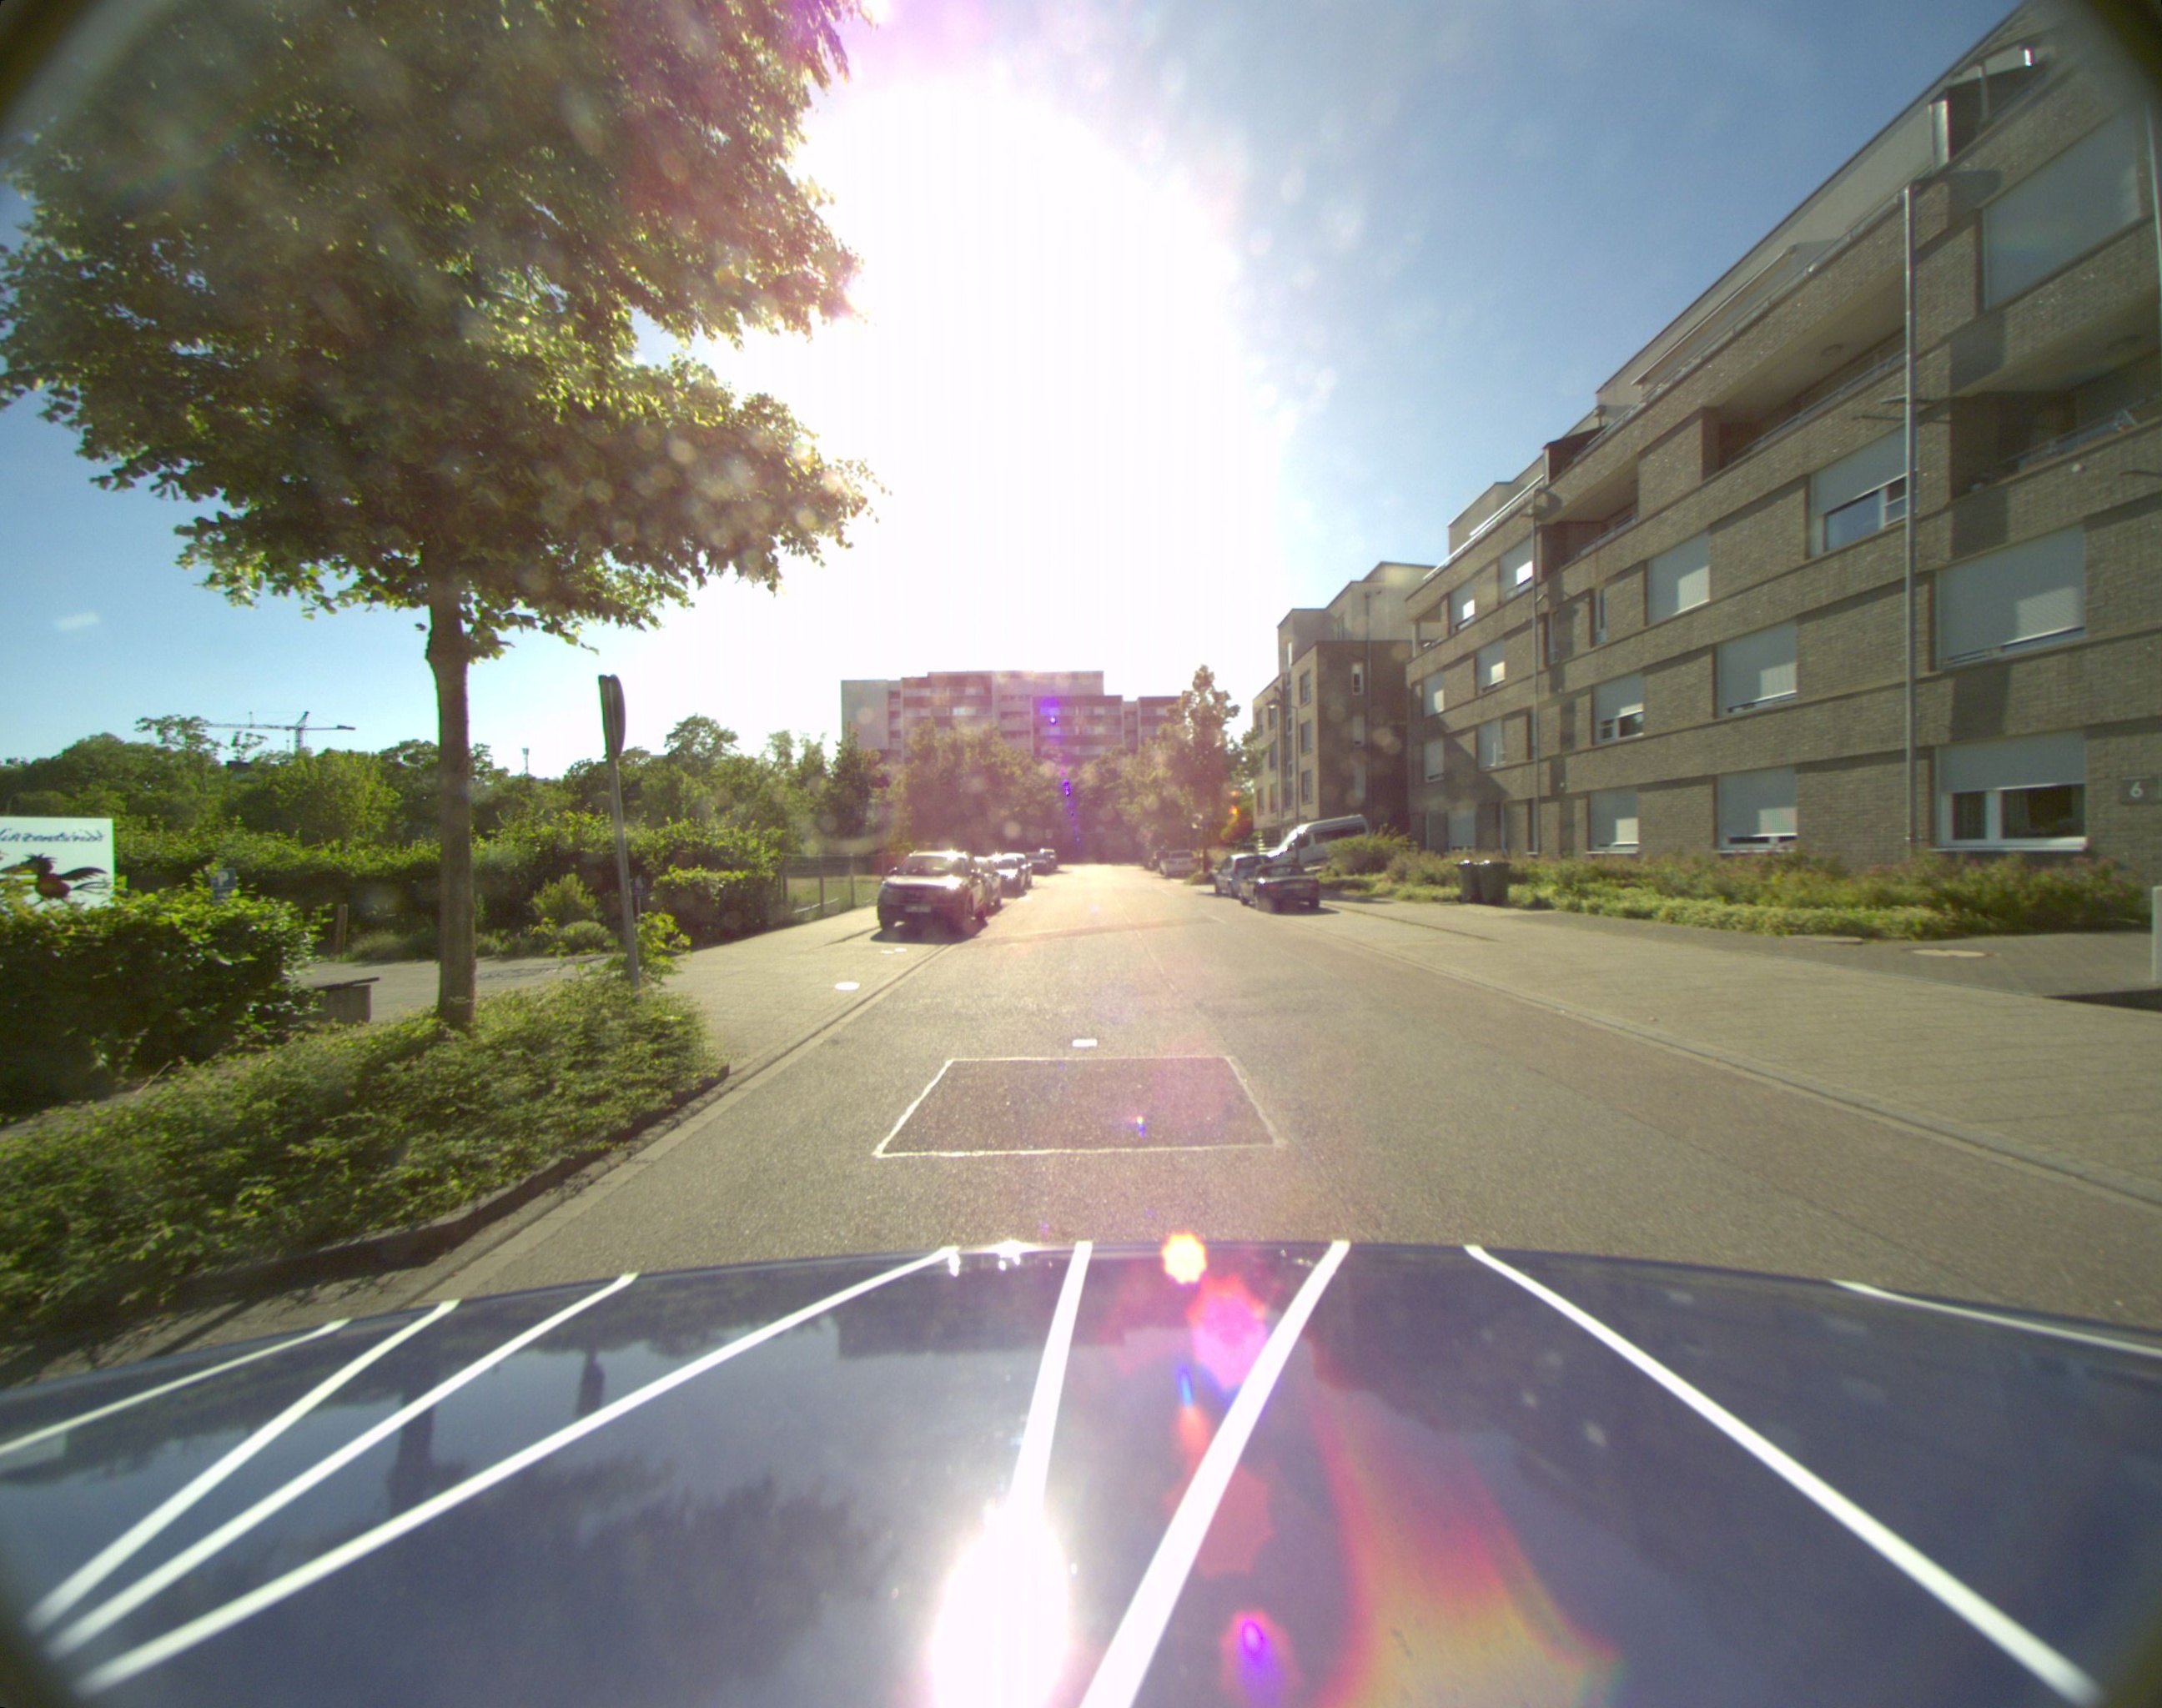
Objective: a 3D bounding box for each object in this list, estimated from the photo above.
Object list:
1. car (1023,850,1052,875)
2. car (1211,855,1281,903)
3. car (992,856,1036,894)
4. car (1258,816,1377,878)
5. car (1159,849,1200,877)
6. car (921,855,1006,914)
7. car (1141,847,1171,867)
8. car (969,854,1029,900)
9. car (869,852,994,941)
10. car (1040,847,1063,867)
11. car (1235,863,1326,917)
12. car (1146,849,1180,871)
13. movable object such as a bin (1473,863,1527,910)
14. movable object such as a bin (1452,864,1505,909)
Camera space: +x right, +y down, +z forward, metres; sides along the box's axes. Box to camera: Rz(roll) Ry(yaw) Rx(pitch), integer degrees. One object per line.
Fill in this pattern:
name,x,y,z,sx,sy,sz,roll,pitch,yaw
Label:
car,-2.839,0.538,50.624,1.645,1.458,3.702,2,2,0
car,5.652,0.804,26.344,1.631,1.515,3.562,-1,0,0
car,-3.019,0.930,34.895,1.645,1.458,3.702,2,2,0
car,11.493,-0.346,37.172,5.153,2.885,2.013,-1,1,-3
car,5.940,0.497,46.179,1.795,1.590,3.889,-2,0,-2
car,-3.300,0.809,22.036,1.823,1.458,3.842,2,0,0
car,5.913,0.232,60.281,1.795,1.509,3.889,-2,0,-2
car,-3.075,0.832,29.212,1.823,1.458,3.841,2,2,0
car,-3.149,0.823,16.923,1.823,1.638,4.488,2,0,0
car,-2.421,0.197,62.806,1.645,1.458,3.702,2,2,0
car,5.422,0.935,21.036,1.631,1.240,3.562,-2,0,1
car,5.894,0.398,54.996,1.795,1.509,3.889,-2,0,-2
movable object such as a bin,10.082,0.774,18.307,0.862,1.031,0.677,-4,1,-2
movable object such as a bin,9.953,0.798,19.055,0.921,1.031,0.681,-4,1,-2
